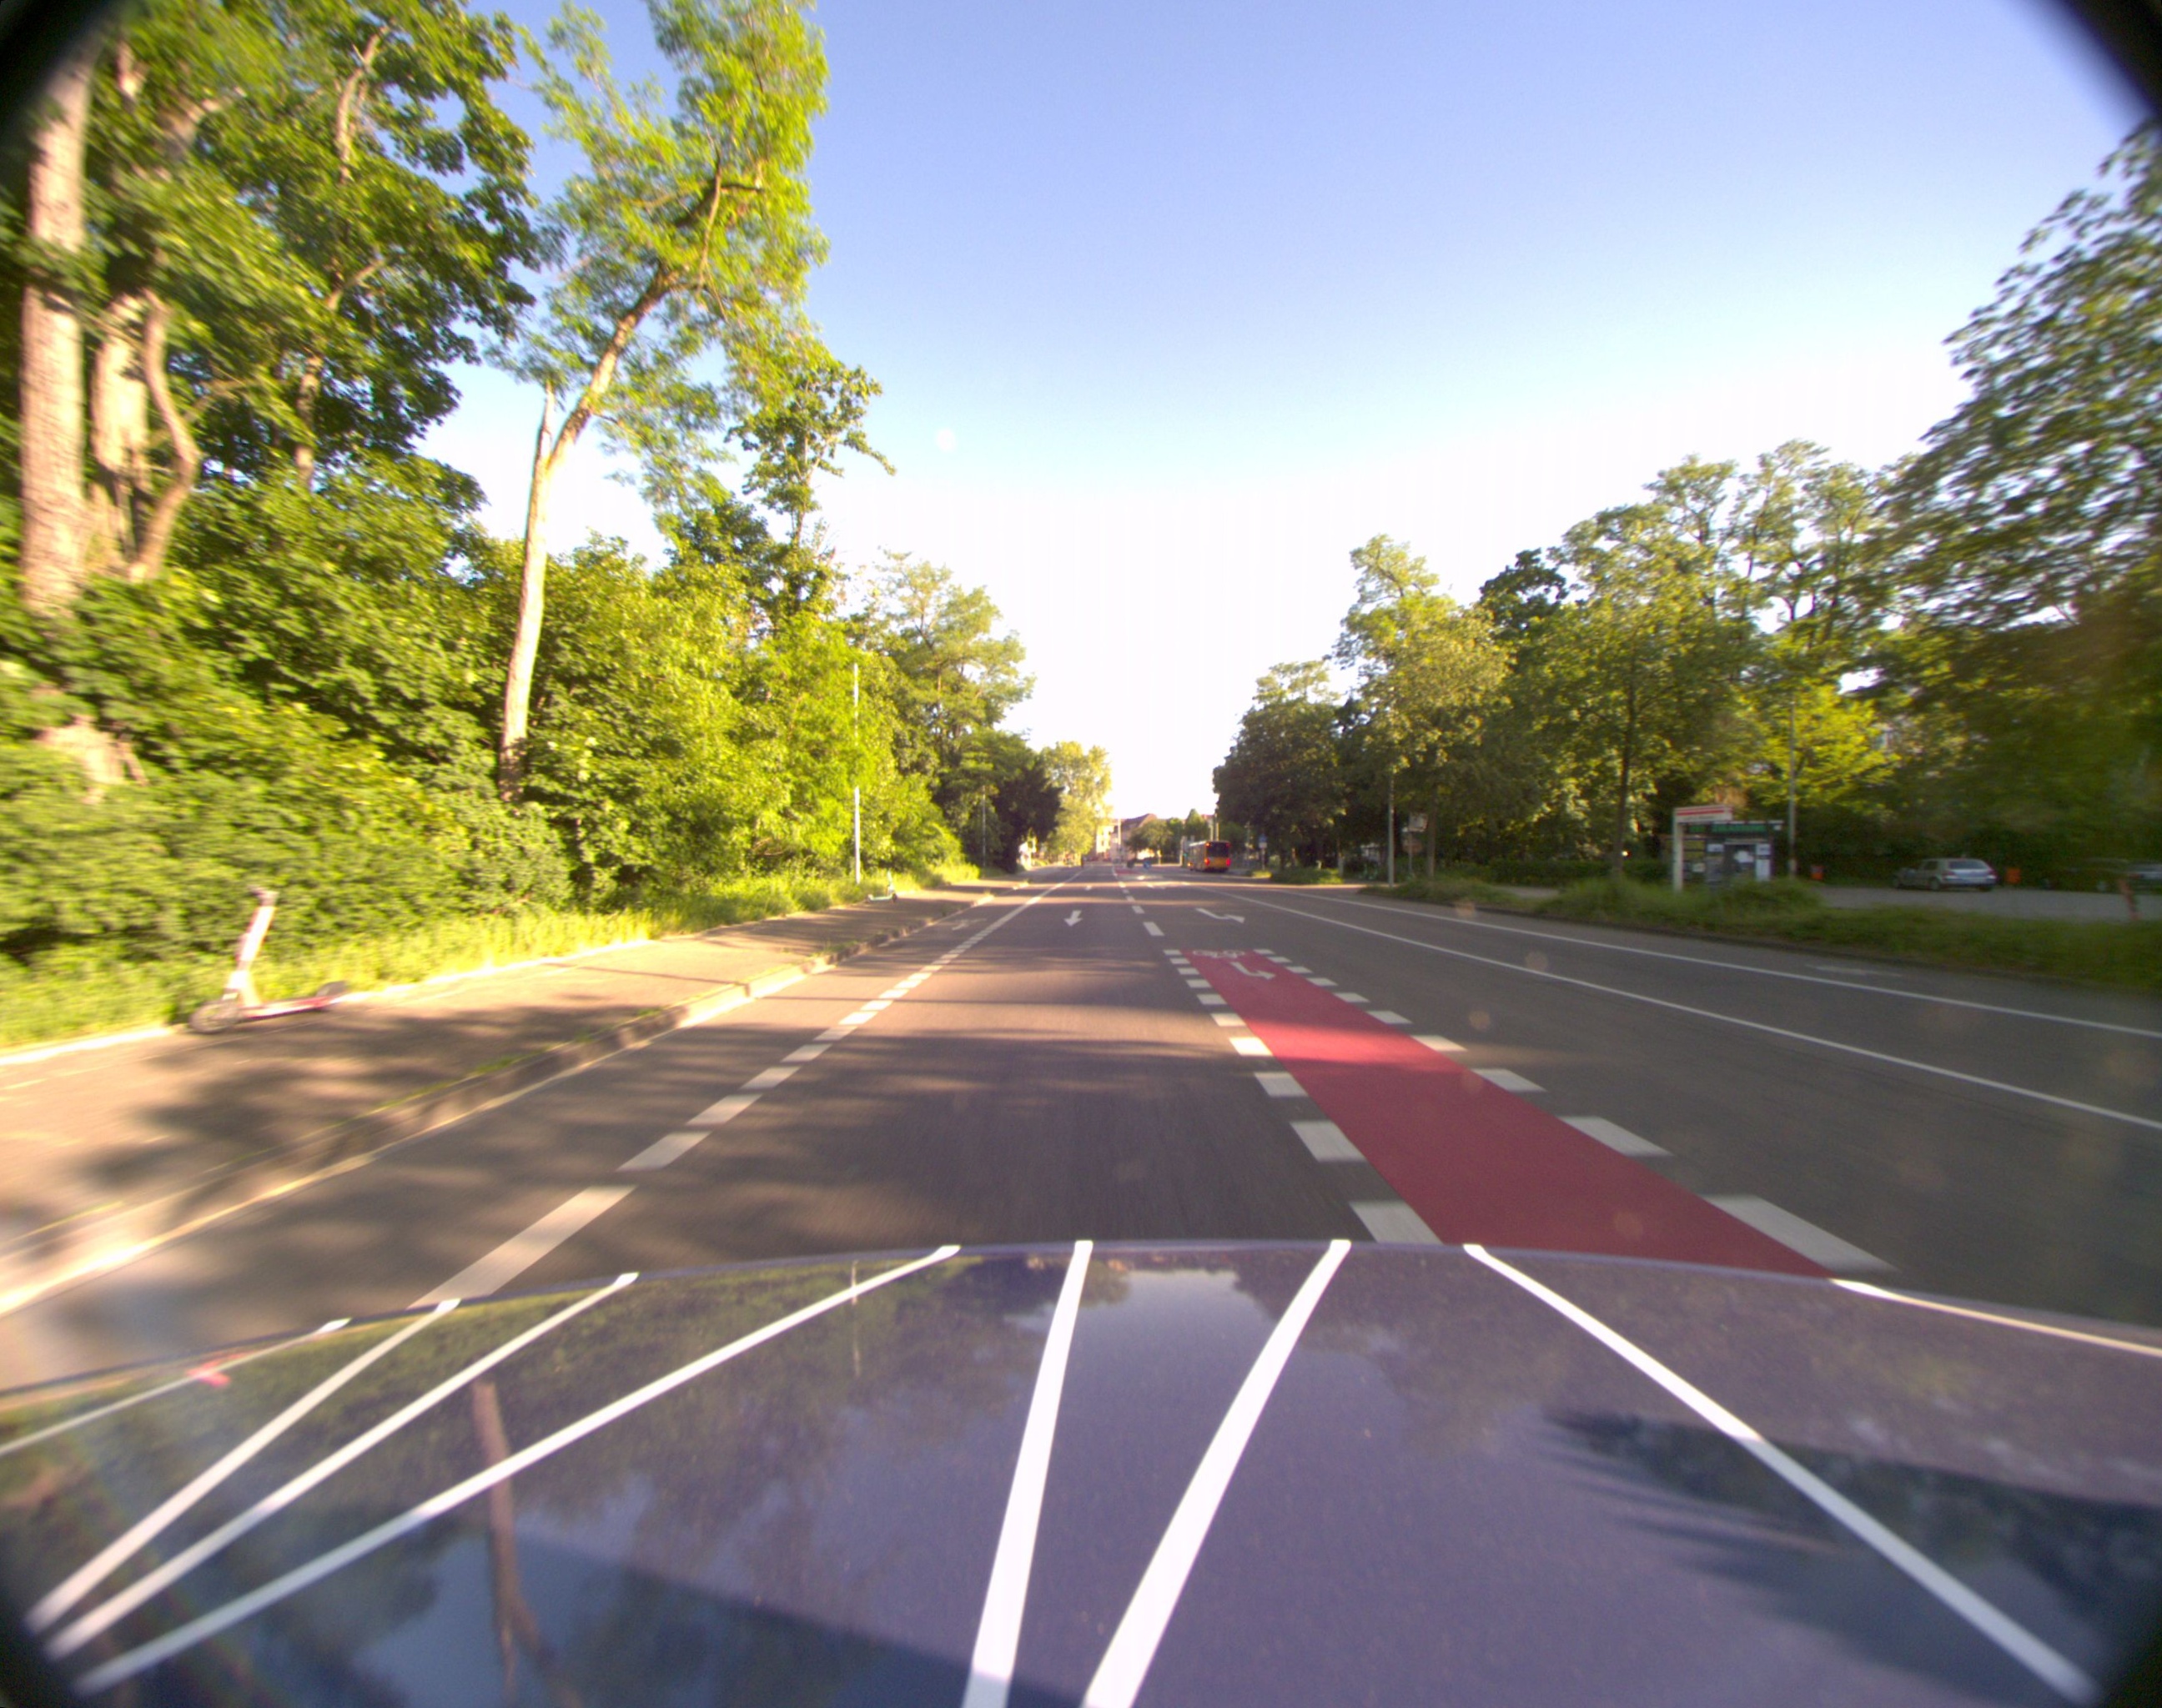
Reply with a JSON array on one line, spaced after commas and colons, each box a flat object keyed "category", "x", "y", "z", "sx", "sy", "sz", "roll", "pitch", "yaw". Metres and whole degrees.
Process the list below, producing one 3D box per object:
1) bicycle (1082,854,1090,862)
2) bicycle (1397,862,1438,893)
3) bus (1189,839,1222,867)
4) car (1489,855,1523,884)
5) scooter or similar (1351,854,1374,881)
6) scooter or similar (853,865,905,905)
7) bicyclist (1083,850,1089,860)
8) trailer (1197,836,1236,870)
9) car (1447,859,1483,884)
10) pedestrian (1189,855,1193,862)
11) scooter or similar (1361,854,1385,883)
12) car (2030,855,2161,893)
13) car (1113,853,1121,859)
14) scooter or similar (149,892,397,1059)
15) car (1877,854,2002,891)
[{"category": "bicycle", "x": 0.704, "y": 0.568, "z": 104.789, "sx": 0.694, "sy": 1.089, "sz": 2.138, "roll": 1, "pitch": 0, "yaw": 12}, {"category": "bicycle", "x": 14.232, "y": 0.993, "z": 32.205, "sx": 0.656, "sy": 1.243, "sz": 2.158, "roll": 0, "pitch": 0, "yaw": -4}, {"category": "bus", "x": 14.693, "y": -0.112, "z": 89.970, "sx": 2.847, "sy": 3.178, "sz": 8.600, "roll": 0, "pitch": 0, "yaw": 3}, {"category": "car", "x": 25.562, "y": 0.907, "z": 45.687, "sx": 1.558, "sy": 1.641, "sz": 3.498, "roll": 0, "pitch": 0, "yaw": 32}, {"category": "scooter or similar", "x": 17.728, "y": 0.833, "z": 47.908, "sx": 0.829, "sy": 1.707, "sz": 1.741, "roll": 0, "pitch": 0, "yaw": 1}, {"category": "scooter or similar", "x": -6.531, "y": 0.983, "z": 24.614, "sx": 1.544, "sy": 1.242, "sz": 0.533, "roll": 0, "pitch": 1, "yaw": -42}, {"category": "bicyclist", "x": 0.705, "y": 0.136, "z": 104.788, "sx": 0.694, "sy": 1.482, "sz": 0.801, "roll": 1, "pitch": 1, "yaw": 12}, {"category": "trailer", "x": 14.293, "y": -0.120, "z": 81.012, "sx": 2.861, "sy": 3.336, "sz": 9.363, "roll": -2, "pitch": 0, "yaw": 3}, {"category": "car", "x": 23.379, "y": 1.051, "z": 46.178, "sx": 1.558, "sy": 1.392, "sz": 3.498, "roll": 3, "pitch": 1, "yaw": 32}, {"category": "pedestrian", "x": 23.500, "y": 0.954, "z": 162.522, "sx": 0.691, "sy": 1.672, "sz": 0.681, "roll": 0, "pitch": 1, "yaw": 10}, {"category": "scooter or similar", "x": 17.639, "y": 0.848, "z": 45.966, "sx": 0.829, "sy": 1.707, "sz": 1.741, "roll": 0, "pitch": 0, "yaw": 1}, {"category": "car", "x": 43.429, "y": 0.807, "z": 32.221, "sx": 1.996, "sy": 1.527, "sz": 3.917, "roll": 0, "pitch": 0, "yaw": 14}, {"category": "car", "x": 8.668, "y": 0.524, "z": 181.719, "sx": 1.722, "sy": 1.409, "sz": 4.526, "roll": 0, "pitch": 0, "yaw": 0}, {"category": "scooter or similar", "x": -7.070, "y": 1.000, "z": 6.766, "sx": 0.534, "sy": 1.242, "sz": 1.541, "roll": 0, "pitch": 0, "yaw": 1}, {"category": "car", "x": 38.354, "y": 0.783, "z": 34.106, "sx": 1.995, "sy": 1.527, "sz": 4.027, "roll": 0, "pitch": 0, "yaw": 19}]
